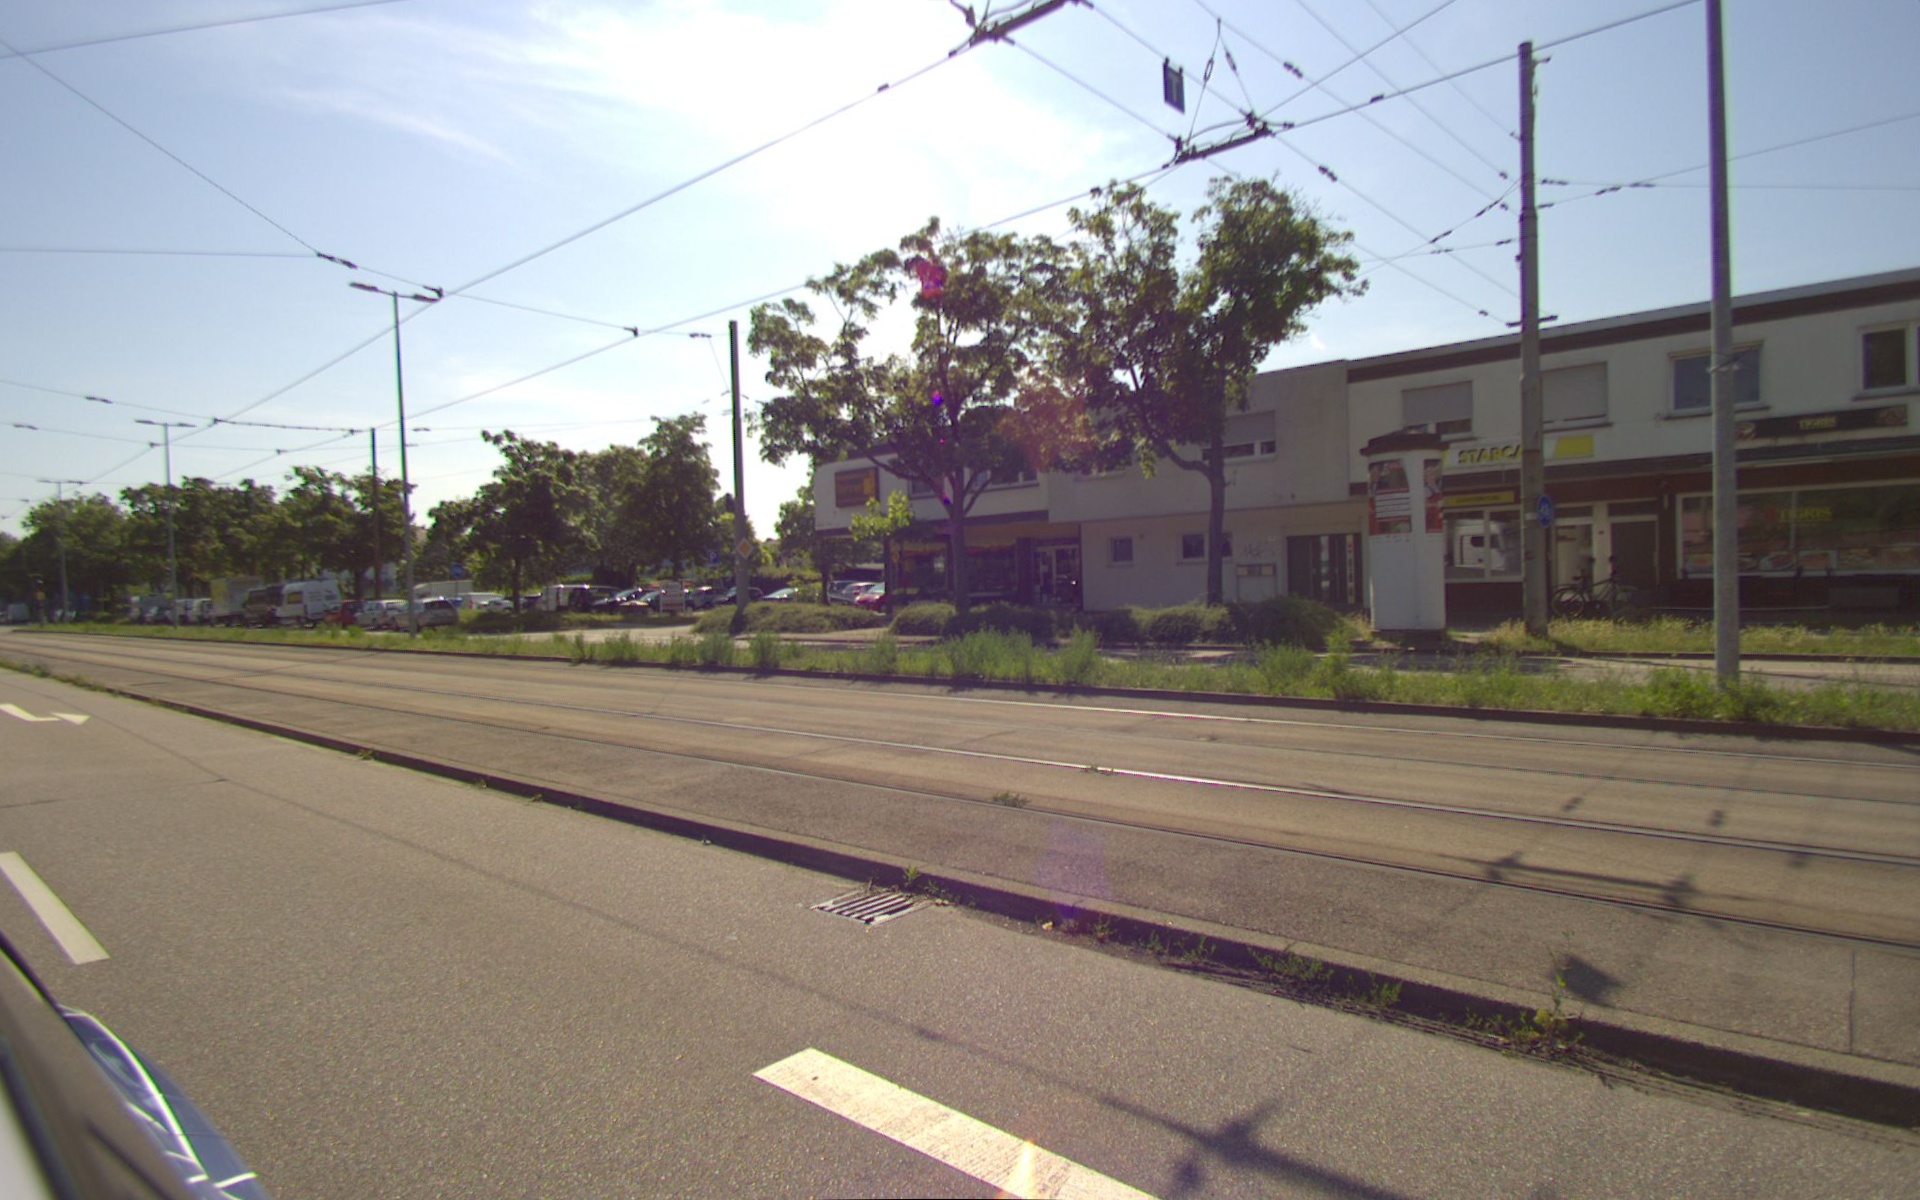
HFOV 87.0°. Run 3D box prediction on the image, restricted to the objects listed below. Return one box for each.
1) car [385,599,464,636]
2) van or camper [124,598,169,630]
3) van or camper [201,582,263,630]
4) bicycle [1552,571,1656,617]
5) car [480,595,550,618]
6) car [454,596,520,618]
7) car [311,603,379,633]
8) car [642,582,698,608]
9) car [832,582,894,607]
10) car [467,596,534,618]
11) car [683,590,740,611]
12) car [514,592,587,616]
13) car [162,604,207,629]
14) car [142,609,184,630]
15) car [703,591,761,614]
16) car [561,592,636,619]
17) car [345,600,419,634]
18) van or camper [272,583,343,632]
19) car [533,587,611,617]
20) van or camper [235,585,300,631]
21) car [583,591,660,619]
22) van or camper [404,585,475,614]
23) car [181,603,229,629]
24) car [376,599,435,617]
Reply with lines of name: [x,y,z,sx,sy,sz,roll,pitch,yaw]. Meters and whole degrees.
car: [-25.136,0.835,47.419,4.285,1.506,1.868,-1,4,43]
van or camper: [-69.481,1.166,86.423,5.450,2.639,2.087,-1,0,41]
van or camper: [-48.432,0.396,67.272,5.278,3.007,2.101,-1,1,41]
bicycle: [14.647,-0.131,23.048,1.910,0.990,0.750,-1,1,41]
car: [-28.037,0.414,63.794,1.811,1.291,3.580,-1,1,39]
car: [-31.554,0.460,67.621,1.710,1.291,3.580,-1,1,39]
car: [-33.154,0.977,54.520,4.229,1.506,1.869,-1,1,41]
car: [-21.269,-0.371,74.368,1.710,1.791,3.580,-1,1,39]
car: [-5.849,-0.361,61.337,1.710,1.372,3.580,-1,1,39]
car: [-29.866,0.438,65.889,1.710,1.291,3.580,-1,1,39]
car: [-17.479,0.036,71.224,1.710,1.372,3.580,-1,1,39]
car: [-24.018,0.228,59.451,1.710,1.294,3.580,-1,1,39]
car: [-59.742,1.277,77.935,4.229,1.781,1.869,-1,1,41]
car: [-64.383,1.585,81.727,4.229,1.572,1.869,-1,1,41]
car: [-15.638,0.164,69.385,1.710,1.372,3.580,-1,1,39]
car: [-20.176,0.275,56.573,1.710,1.372,3.580,-1,1,39]
car: [-29.166,0.859,51.032,4.282,1.572,1.869,-1,1,41]
van or camper: [-37.106,0.427,57.522,4.836,2.652,2.014,-1,1,41]
car: [-22.207,0.119,57.996,1.949,1.581,3.703,-1,1,39]
van or camper: [-42.492,0.496,62.073,4.836,2.652,2.014,-1,1,41]
car: [-18.225,0.250,54.633,1.710,1.372,3.580,-1,1,39]
van or camper: [-53.067,-0.091,103.253,2.299,2.751,6.002,-1,1,43]
car: [-54.654,1.182,73.215,4.229,1.747,1.869,-1,1,41]
car: [-42.299,0.599,77.244,1.710,1.291,3.580,-1,1,39]
